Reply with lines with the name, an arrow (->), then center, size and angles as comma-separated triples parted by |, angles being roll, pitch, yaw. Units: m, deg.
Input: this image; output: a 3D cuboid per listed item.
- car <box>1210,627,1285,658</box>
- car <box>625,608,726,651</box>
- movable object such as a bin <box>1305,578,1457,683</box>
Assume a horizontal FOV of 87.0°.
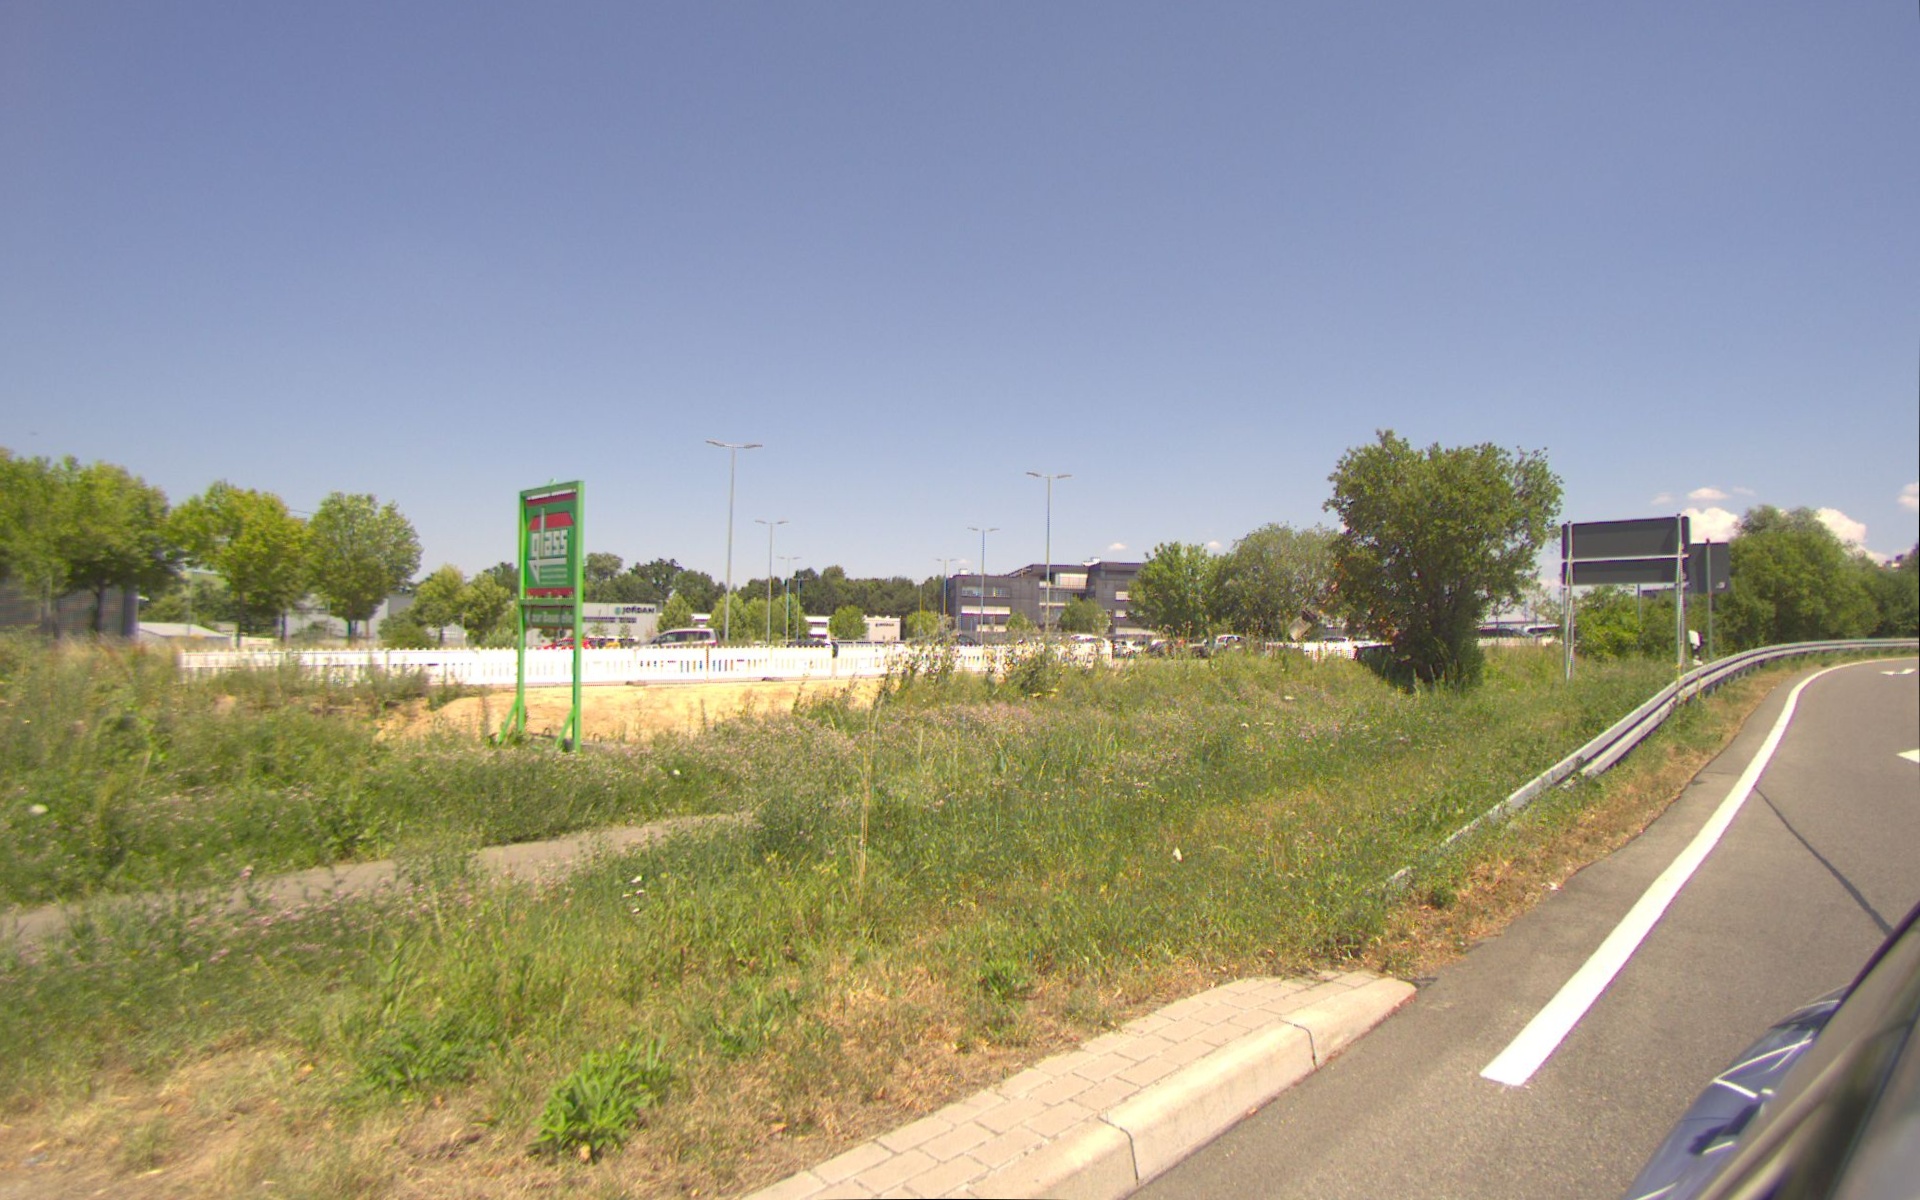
car -> 17.342, 2.547, 61.111 | 3.916, 1.660, 2.004 | 0, 0, -19
car -> -13.415, 1.374, 47.949 | 4.385, 1.939, 1.942 | 0, -2, -8
movable object such as a bin -> 18.180, 1.136, 43.438 | 7.967, 4.096, 2.982 | -1, 0, -43
